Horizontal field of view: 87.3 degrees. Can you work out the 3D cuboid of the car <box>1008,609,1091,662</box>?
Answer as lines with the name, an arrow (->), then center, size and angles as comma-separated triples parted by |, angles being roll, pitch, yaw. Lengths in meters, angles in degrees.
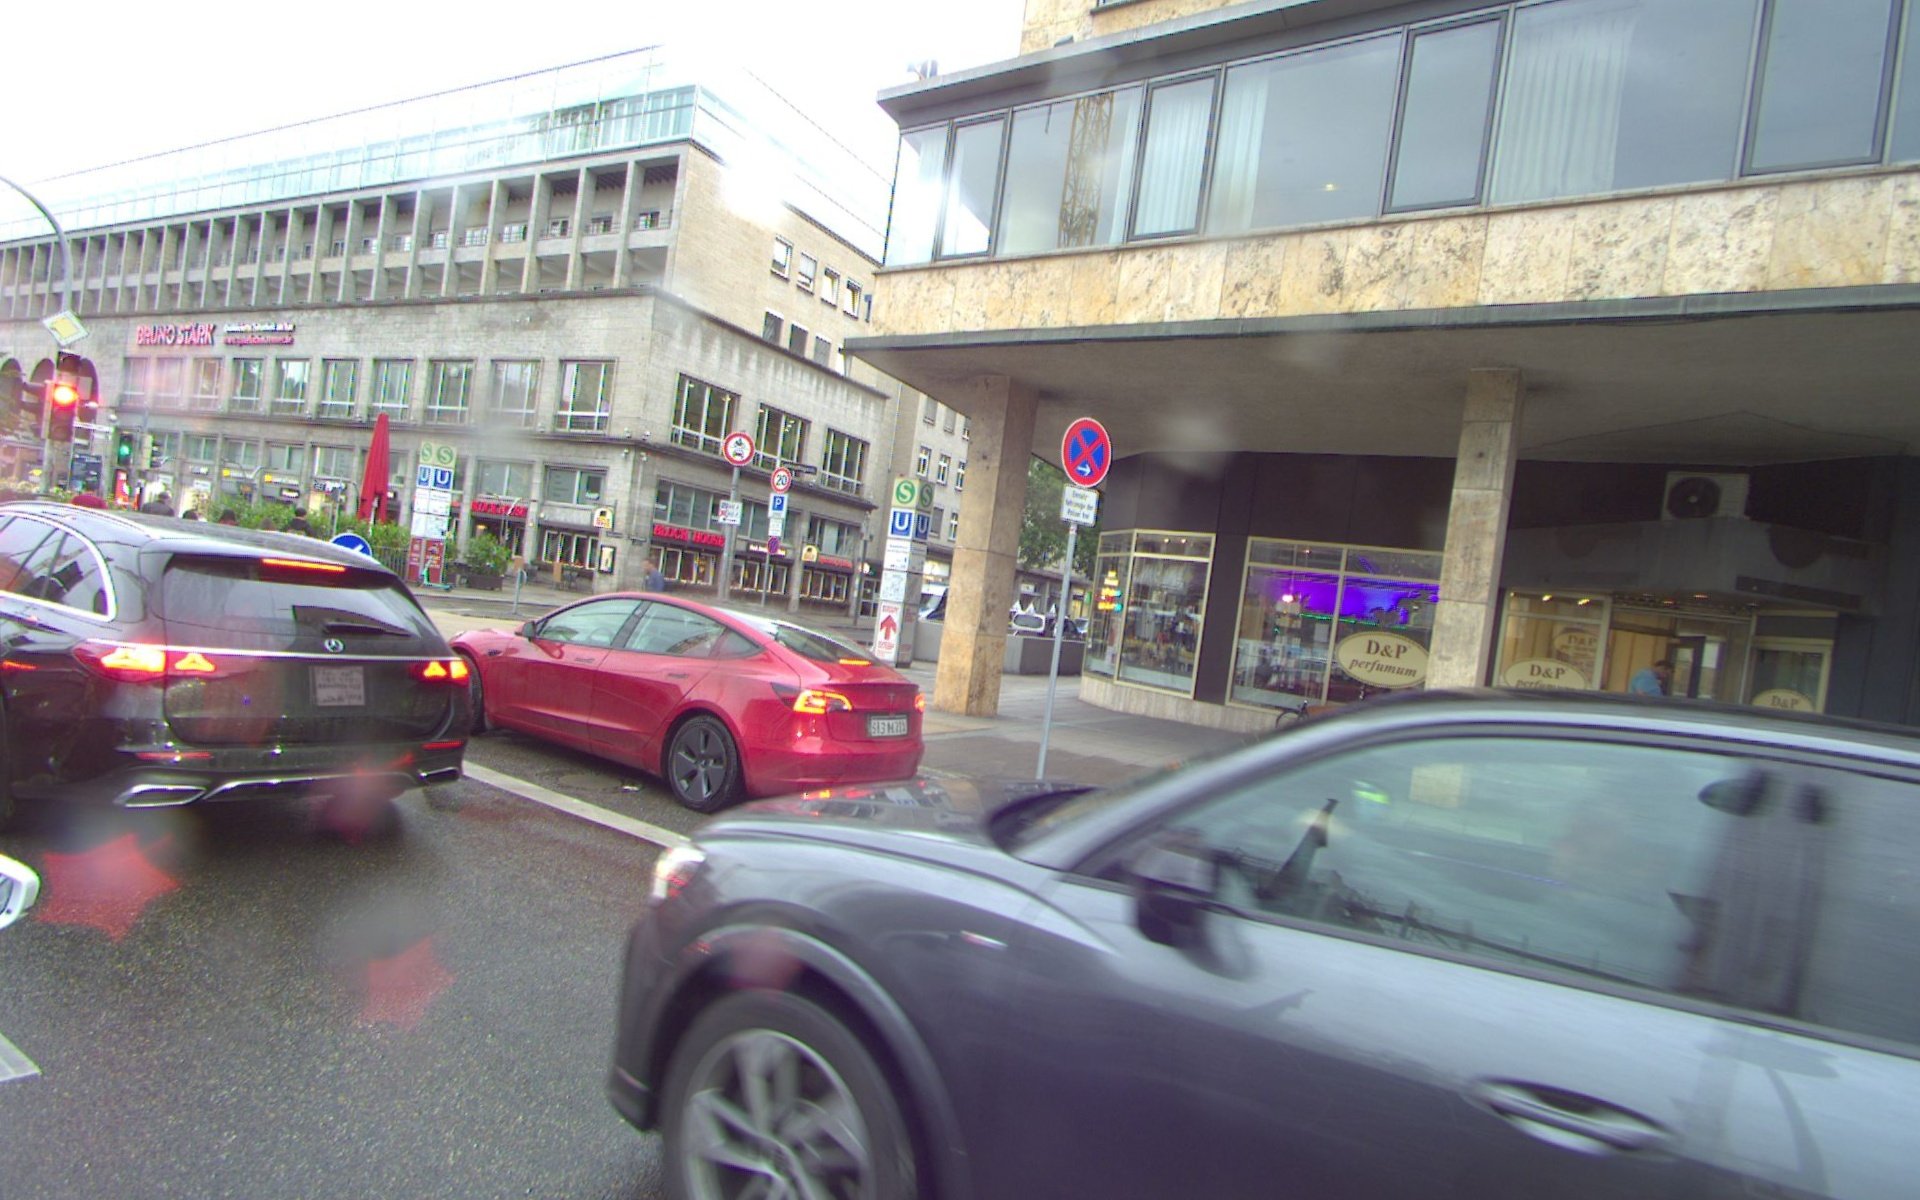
car -> 4.227, 1.705, 46.850 | 1.966, 1.995, 4.638 | 7, -1, 29

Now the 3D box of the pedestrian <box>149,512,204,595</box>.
pedestrian -> -14.572, -0.862, 18.721 | 0.627, 1.444, 0.485 | 8, -1, -36

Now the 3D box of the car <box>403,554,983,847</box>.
car -> -2.270, 0.660, 8.185 | 4.451, 1.503, 1.878 | 6, -2, 31

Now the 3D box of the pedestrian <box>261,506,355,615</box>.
pedestrian -> -11.321, -0.665, 17.498 | 0.642, 1.774, 1.097 | 7, 2, 29

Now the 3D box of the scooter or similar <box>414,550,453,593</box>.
scooter or similar -> -16.360, -0.876, 31.264 | 1.000, 1.203, 0.291 | 7, -1, 13

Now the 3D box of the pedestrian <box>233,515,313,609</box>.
pedestrian -> -13.240, -0.721, 19.395 | 0.884, 1.645, 0.795 | 7, -1, 28

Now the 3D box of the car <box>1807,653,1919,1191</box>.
car -> 5.970, 1.426, 3.001 | 4.853, 1.942, 1.878 | 6, -2, 31

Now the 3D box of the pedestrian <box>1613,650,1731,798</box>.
pedestrian -> 9.725, 1.671, 13.740 | 1.119, 1.811, 0.798 | 6, -1, 39

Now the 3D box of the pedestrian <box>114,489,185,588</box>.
pedestrian -> -15.298, -1.151, 18.999 | 0.458, 1.737, 0.757 | 7, -1, 28

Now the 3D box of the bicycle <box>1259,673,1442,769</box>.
bicycle -> 5.921, 1.811, 15.348 | 2.431, 1.058, 0.657 | 6, -1, 32

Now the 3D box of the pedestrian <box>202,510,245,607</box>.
pedestrian -> -14.001, -0.793, 19.135 | 0.477, 1.774, 0.661 | 5, 2, -30

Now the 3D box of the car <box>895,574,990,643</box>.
car -> -0.787, 0.524, 51.490 | 1.965, 2.792, 6.187 | 7, -2, 26

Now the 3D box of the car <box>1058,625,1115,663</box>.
car -> 8.917, 3.106, 70.429 | 1.967, 2.065, 4.831 | 7, -2, 31

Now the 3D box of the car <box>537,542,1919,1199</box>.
car -> 1.324, 0.906, 2.168 | 4.271, 1.519, 1.882 | 6, -2, 32

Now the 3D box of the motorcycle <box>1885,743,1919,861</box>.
motorcycle -> 11.147, 2.283, 10.484 | 2.074, 1.232, 0.567 | 6, -2, 40

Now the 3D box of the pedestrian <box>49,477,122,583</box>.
pedestrian -> -15.590, -1.232, 17.957 | 0.561, 1.772, 0.678 | 7, -1, -15

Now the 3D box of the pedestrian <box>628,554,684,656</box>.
pedestrian -> -5.654, 0.097, 18.727 | 0.768, 1.777, 0.503 | 8, -1, -15

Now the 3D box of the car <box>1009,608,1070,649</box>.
car -> 5.056, 1.817, 63.254 | 1.966, 2.065, 4.483 | 7, -2, 29

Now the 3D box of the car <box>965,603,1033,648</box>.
car -> 2.310, 1.507, 58.419 | 1.966, 2.065, 4.557 | 7, -2, 29

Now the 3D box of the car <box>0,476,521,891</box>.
car -> -4.756, 0.202, 5.712 | 4.553, 1.519, 1.797 | 6, -2, 33
